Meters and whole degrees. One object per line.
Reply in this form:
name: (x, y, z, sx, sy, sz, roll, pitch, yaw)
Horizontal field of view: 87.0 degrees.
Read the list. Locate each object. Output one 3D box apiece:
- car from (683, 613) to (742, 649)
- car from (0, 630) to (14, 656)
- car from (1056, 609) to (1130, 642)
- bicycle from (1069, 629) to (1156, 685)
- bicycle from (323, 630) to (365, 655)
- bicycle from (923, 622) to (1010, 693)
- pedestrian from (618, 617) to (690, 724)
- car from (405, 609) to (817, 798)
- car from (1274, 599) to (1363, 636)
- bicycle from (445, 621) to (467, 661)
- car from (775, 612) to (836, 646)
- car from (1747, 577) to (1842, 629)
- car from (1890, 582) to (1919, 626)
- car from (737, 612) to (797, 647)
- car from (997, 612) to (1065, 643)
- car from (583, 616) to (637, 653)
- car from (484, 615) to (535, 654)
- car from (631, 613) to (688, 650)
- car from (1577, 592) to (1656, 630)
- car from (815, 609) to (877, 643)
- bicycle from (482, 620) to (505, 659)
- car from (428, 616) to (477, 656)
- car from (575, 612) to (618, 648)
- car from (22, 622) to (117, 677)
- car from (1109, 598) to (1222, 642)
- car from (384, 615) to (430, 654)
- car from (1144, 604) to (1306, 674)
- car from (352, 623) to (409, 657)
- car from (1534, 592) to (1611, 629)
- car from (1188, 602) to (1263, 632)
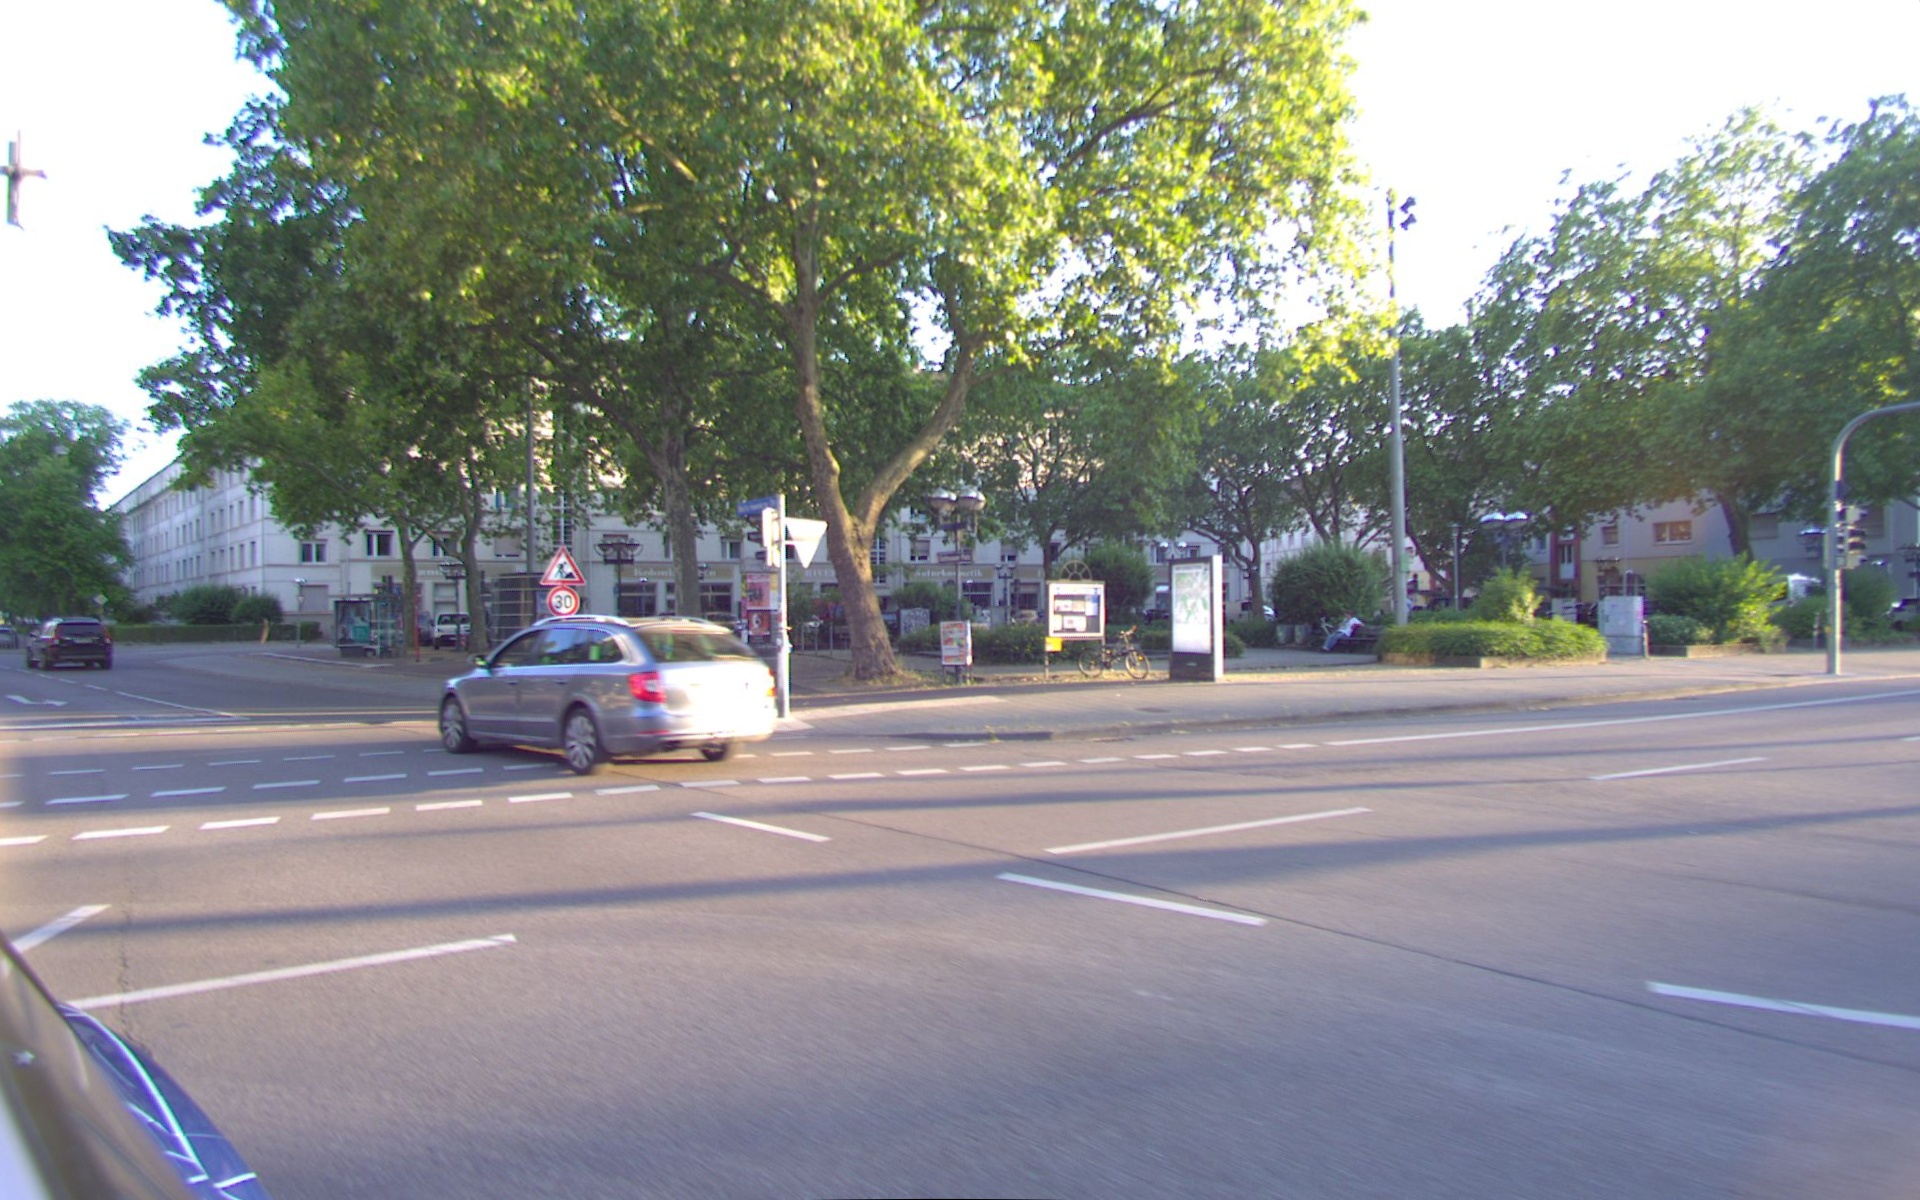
car: (-13.120, 1.664, 53.392, 1.965, 1.795, 4.655, 1, -3, -27)
car: (-62.982, 2.808, 66.019, 1.866, 1.612, 4.004, -1, 0, -43)
car: (7.415, 1.410, 56.535, 3.696, 1.674, 1.680, -1, 0, -22)
bicycle: (3.134, 1.158, 20.957, 1.798, 1.101, 0.453, -1, 0, 40)
bicycle: (-32.884, 2.264, 54.032, 1.776, 1.215, 0.649, -1, 0, -15)
bicycle: (0.112, 1.139, 20.629, 0.519, 1.336, 1.996, -1, 0, -43)
pedestrian: (-4.913, 1.102, 16.269, 0.772, 1.640, 0.794, -1, 0, 37)
car: (-3.857, 0.933, 10.741, 4.765, 1.570, 1.973, -1, -2, 40)
car: (20.347, 1.057, 57.620, 1.965, 1.953, 4.655, 1, -3, -27)
bicycle: (-21.834, 1.741, 43.890, 0.680, 1.626, 2.754, -1, 0, -23)
car: (-8.656, 1.659, 56.233, 1.965, 1.795, 4.655, 1, -3, -27)
car: (39.959, 0.139, 48.476, 3.931, 2.361, 2.007, -1, 0, -26)
car: (42.319, 0.149, 43.619, 3.931, 1.863, 1.924, -1, 0, -26)
car: (-10.523, 1.618, 54.846, 1.965, 1.795, 4.655, 1, -3, -27)
car: (4.267, 1.711, 61.745, 1.965, 1.748, 4.655, 1, -3, -27)
car: (-17.784, 1.790, 51.303, 1.965, 1.795, 4.655, 1, -3, -27)
car: (-22.030, 1.727, 49.396, 1.965, 1.795, 4.655, 1, -3, -27)
car: (-15.573, 1.677, 52.218, 1.965, 1.795, 4.655, 1, -3, -27)
car: (36.787, 0.601, 56.701, 3.931, 2.029, 2.007, -1, 0, -26)
car: (-6.475, 1.504, 57.006, 1.965, 1.795, 4.655, 1, -3, -27)
bicycle: (-20.640, 1.716, 44.797, 0.795, 1.626, 2.754, -1, 0, -23)
car: (-24.100, 1.728, 47.976, 1.965, 1.795, 4.655, 1, -3, -27)
car: (-21.885, 1.752, 60.772, 1.965, 1.970, 4.656, 1, 0, -25)
car: (-32.090, 1.753, 36.417, 4.795, 1.798, 1.973, -2, -2, 41)
car: (8.829, 0.887, 43.454, 4.423, 1.795, 2.006, 1, -3, -28)
car: (-30.766, 1.885, 56.404, 1.965, 1.970, 4.656, 1, 0, -25)
car: (7.330, 1.130, 28.533, 1.965, 1.795, 4.655, 1, -3, -23)
car: (-27.029, 1.891, 47.159, 1.966, 1.515, 4.653, 1, -3, -34)
car: (35.557, 0.613, 58.790, 3.931, 2.029, 2.007, -1, 0, -26)
car: (17.742, 1.169, 67.830, 1.967, 1.824, 4.659, 2, -4, -37)
